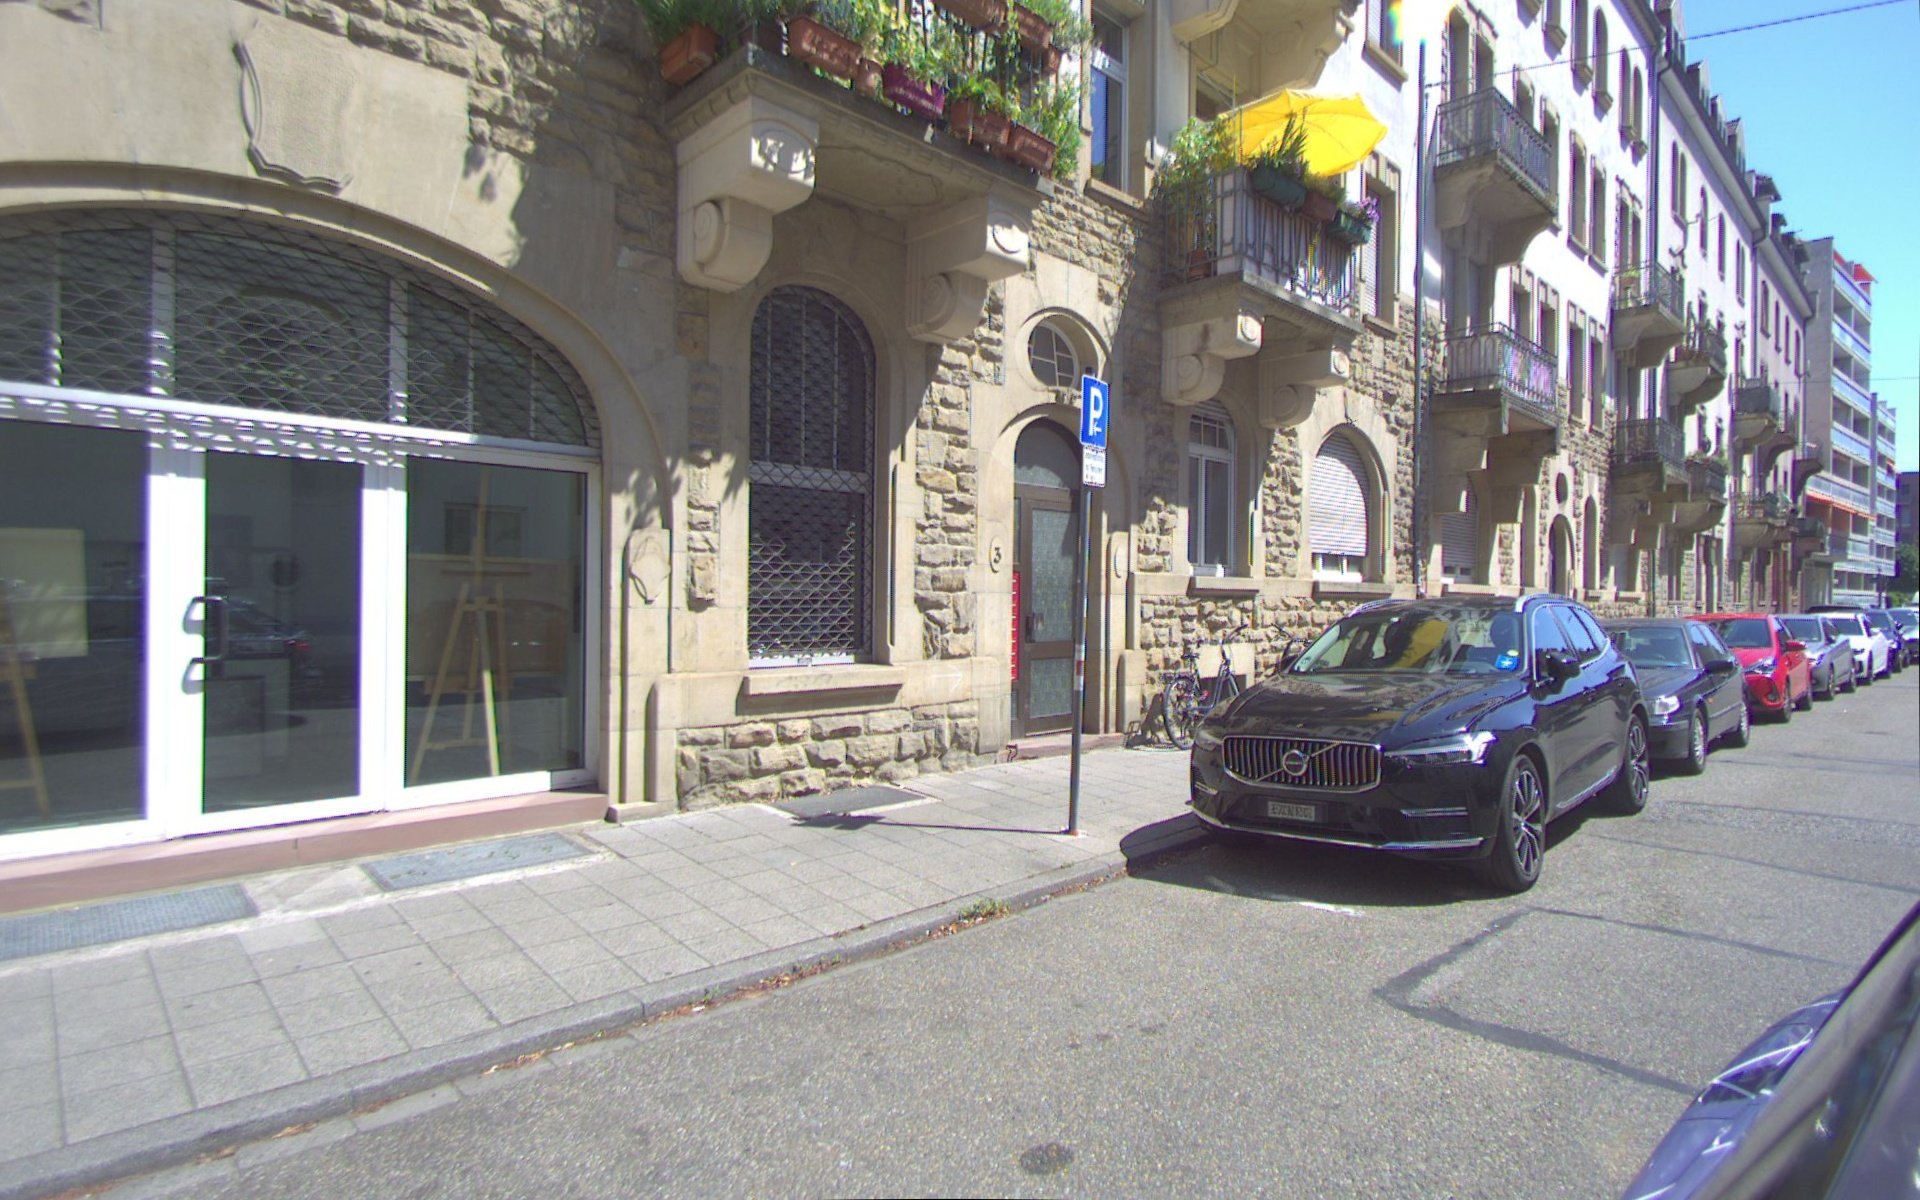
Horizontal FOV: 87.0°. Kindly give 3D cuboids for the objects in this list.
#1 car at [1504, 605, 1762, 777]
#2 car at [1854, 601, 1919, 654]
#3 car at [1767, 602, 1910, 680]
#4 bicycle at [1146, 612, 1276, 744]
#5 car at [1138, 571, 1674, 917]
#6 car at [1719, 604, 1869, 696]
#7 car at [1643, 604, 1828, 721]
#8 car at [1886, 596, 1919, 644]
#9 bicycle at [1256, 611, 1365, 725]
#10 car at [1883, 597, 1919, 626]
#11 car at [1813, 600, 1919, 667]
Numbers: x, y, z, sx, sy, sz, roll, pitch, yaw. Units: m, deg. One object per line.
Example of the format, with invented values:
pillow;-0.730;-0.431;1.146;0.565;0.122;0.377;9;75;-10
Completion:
car;7.093;0.794;10.503;1.512;1.417;3.909;-2;-1;44
car;27.473;0.749;29.552;1.823;1.450;4.417;0;0;44
car;19.112;0.827;21.939;4.517;1.471;1.718;-1;-1;-41
bicycle;2.602;0.756;10.382;1.745;1.223;0.385;0;1;-43
car;3.301;0.672;6.930;1.833;1.587;4.531;-2;-1;45
car;15.209;0.840;18.396;3.791;1.471;1.591;0;-1;-43
car;11.466;0.824;14.872;3.779;1.471;1.571;0;-1;-44
car;35.133;0.701;36.737;4.018;1.642;1.652;0;1;-39
bicycle;4.160;0.764;11.952;1.745;1.223;0.442;0;1;-43
car;51.607;0.614;55.048;3.837;1.512;1.751;-1;1;-43
car;23.087;0.772;25.665;4.591;1.476;1.738;-1;1;-44
